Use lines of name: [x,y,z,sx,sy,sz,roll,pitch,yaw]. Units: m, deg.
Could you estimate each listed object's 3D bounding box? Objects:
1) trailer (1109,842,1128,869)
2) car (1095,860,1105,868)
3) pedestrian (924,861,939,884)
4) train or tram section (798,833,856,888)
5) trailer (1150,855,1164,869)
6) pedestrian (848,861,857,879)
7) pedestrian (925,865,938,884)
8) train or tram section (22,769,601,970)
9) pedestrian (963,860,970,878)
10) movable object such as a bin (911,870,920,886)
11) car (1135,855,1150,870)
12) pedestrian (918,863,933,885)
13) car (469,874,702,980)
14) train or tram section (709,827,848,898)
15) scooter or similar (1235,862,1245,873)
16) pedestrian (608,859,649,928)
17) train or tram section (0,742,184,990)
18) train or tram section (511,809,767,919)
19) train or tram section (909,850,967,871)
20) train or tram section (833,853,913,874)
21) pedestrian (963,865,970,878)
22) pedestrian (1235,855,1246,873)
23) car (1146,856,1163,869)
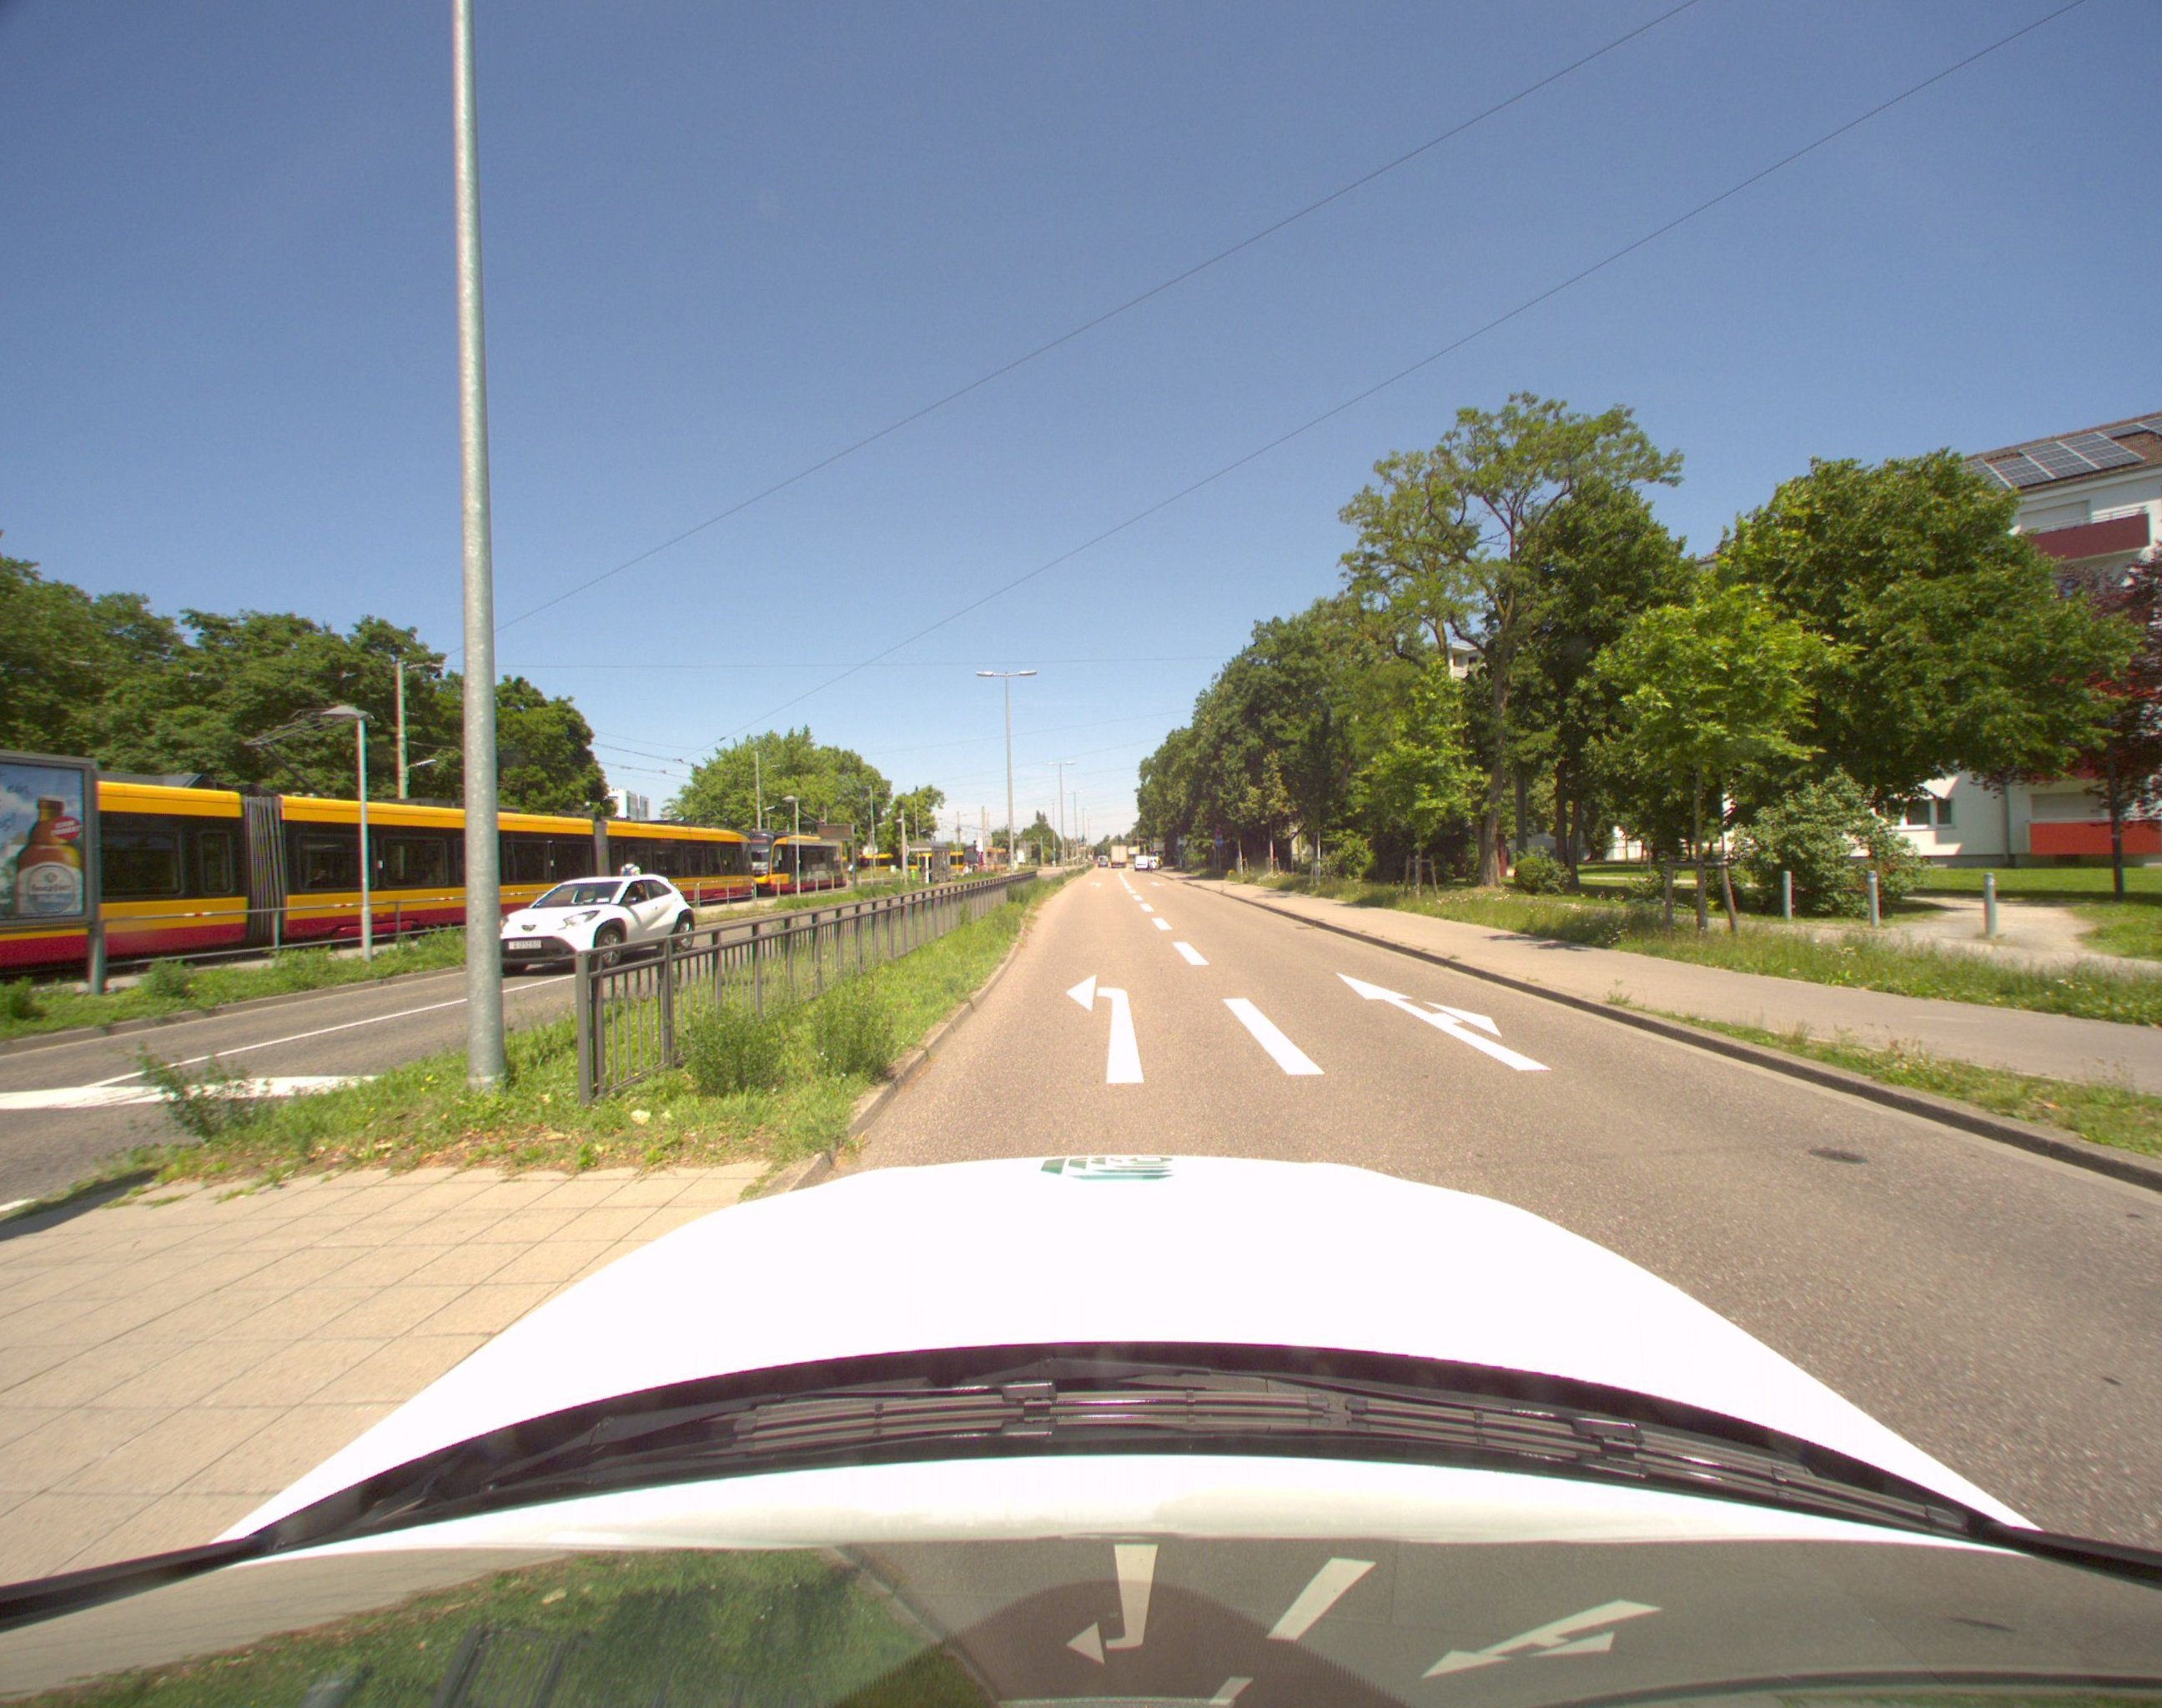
trailer: [6.234,0.266,136.472,2.818,4.421,8.748,0,0,0]
car: [3.436,1.716,147.624,1.886,1.372,4.431,1,0,1]
pedestrian: [-10.570,1.302,57.652,0.871,1.546,1.025,0,-1,-1]
train or tram section: [-18.428,0.480,59.863,3.046,3.624,12.398,0,0,-12]
trailer: [9.367,1.000,100.704,1.464,1.669,2.856,0,0,0]
pedestrian: [-20.965,1.459,74.813,0.802,1.565,0.534,0,-1,-13]
pedestrian: [-10.232,1.422,55.754,0.699,1.283,0.840,0,-1,-1]
train or tram section: [-18.041,0.319,21.474,3.032,3.741,12.599,0,0,1]
pedestrian: [-10.507,1.371,74.857,0.533,1.565,0.582,0,-1,0]
movable object such as a bin: [-10.627,1.539,52.264,0.480,0.978,0.644,-1,-1,-3]
car: [7.170,0.968,95.039,1.701,1.747,4.433,0,0,5]
pedestrian: [-11.239,1.453,58.802,0.928,1.546,0.985,0,-1,-1]
car: [-8.395,1.150,14.225,1.763,1.505,3.719,-1,0,0]
train or tram section: [-17.262,0.459,48.030,3.034,3.624,13.894,0,0,0]
scooter or similar: [12.655,1.059,64.963,0.705,0.893,0.763,0,0,2]
pedestrian: [-11.944,1.025,21.517,0.630,1.791,0.776,0,-1,0]
train or tram section: [-18.365,0.178,9.433,2.939,3.855,11.543,0,0,1]
train or tram section: [-17.634,0.369,34.419,3.031,3.767,13.270,0,0,3]
train or tram section: [-24.114,1.100,136.983,3.064,3.466,12.594,0,-1,-44]
train or tram section: [-36.003,1.614,141.348,13.194,3.466,3.042,0,0,-4]
pedestrian: [-10.343,1.560,73.449,0.579,1.189,0.536,0,-1,-1]
pedestrian: [12.611,0.804,64.457,0.705,1.398,0.763,0,-1,2]
car: [9.397,1.028,104.336,1.694,1.654,4.398,0,0,0]
